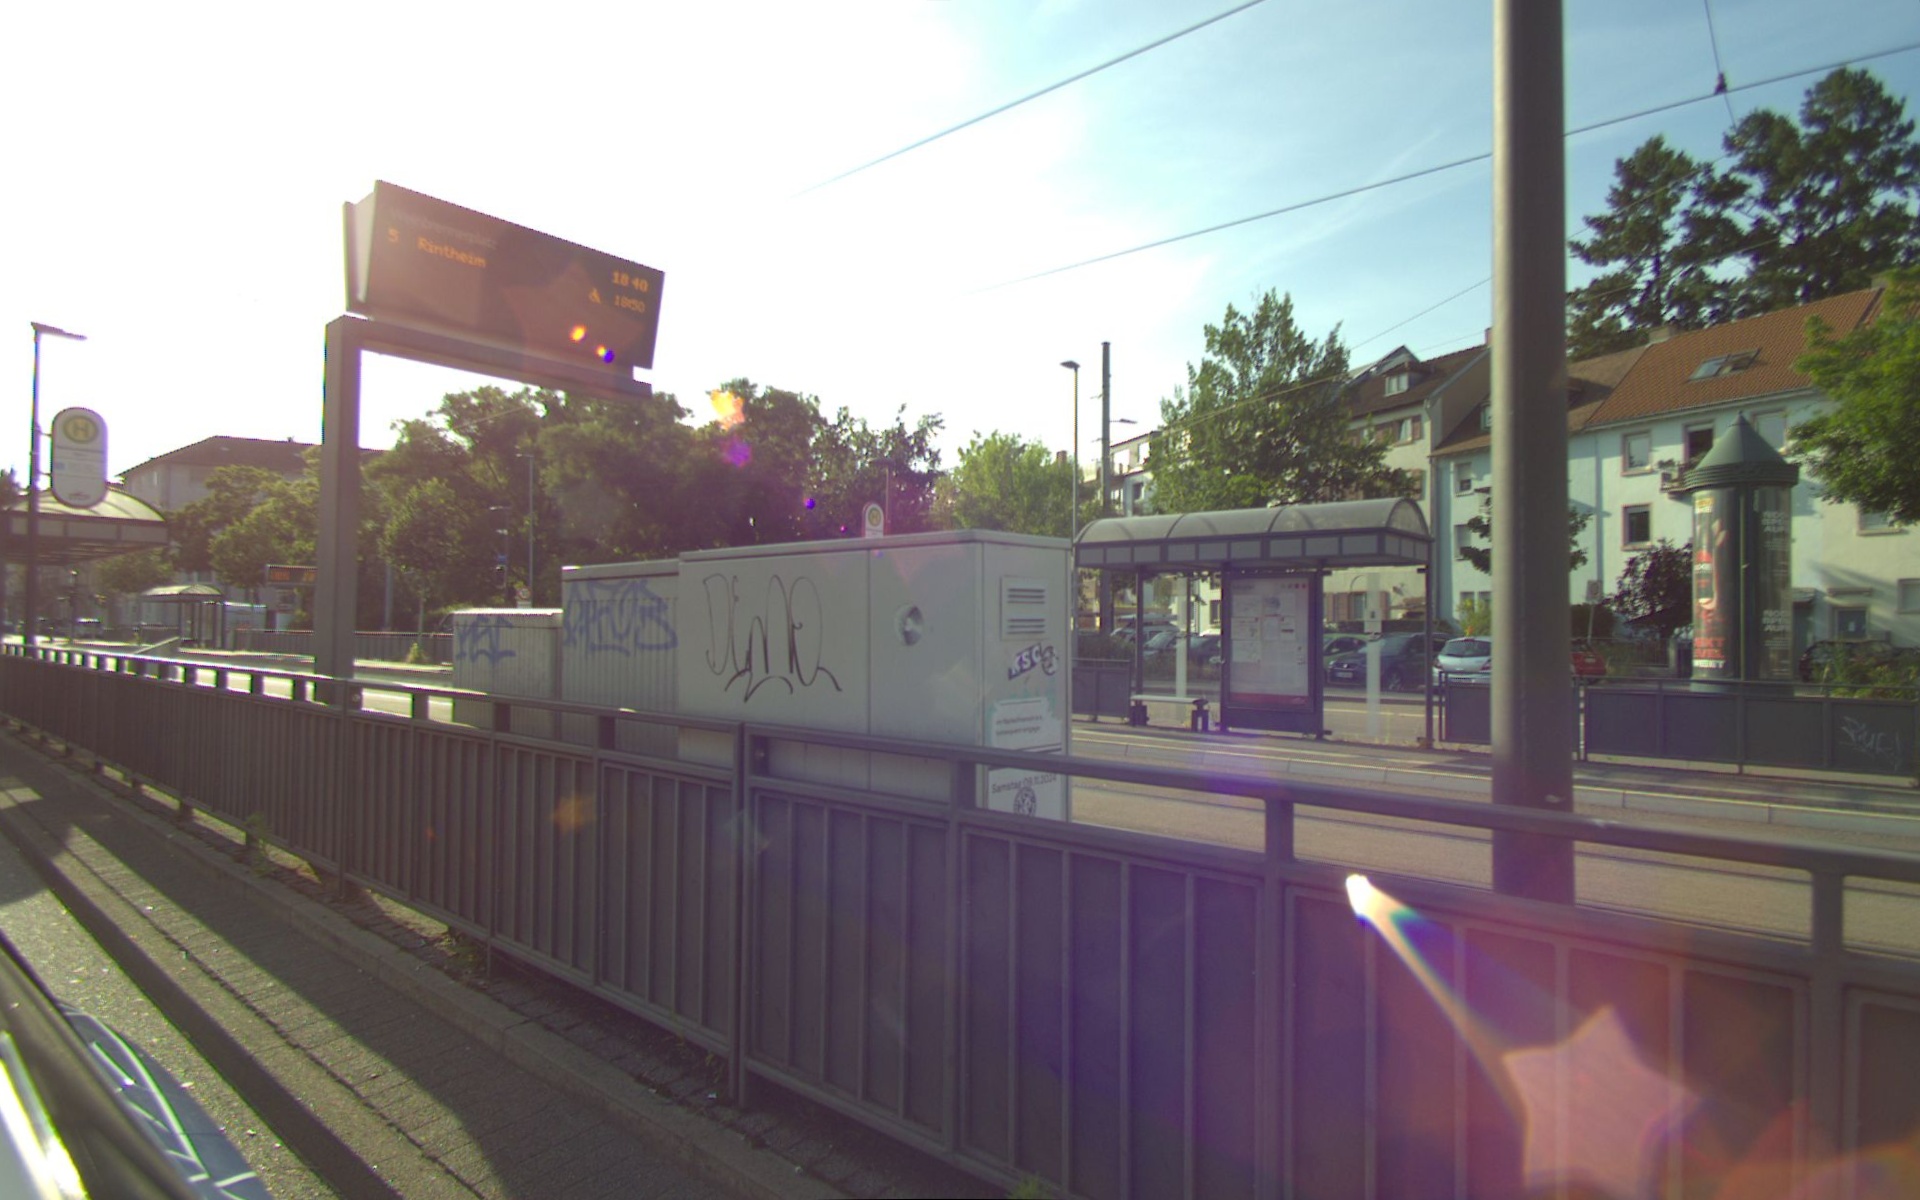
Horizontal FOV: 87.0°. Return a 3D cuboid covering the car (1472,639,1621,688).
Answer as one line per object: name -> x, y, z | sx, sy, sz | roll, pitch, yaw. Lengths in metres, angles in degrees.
car -> 18.417, 1.961, 31.955 | 1.523, 1.437, 3.877 | 1, -2, -26

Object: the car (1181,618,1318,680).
car -> 8.896, 1.494, 31.044 | 3.931, 1.767, 1.860 | 2, -2, -31

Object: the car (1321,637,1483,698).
car -> 11.376, 1.701, 26.047 | 3.931, 1.439, 1.778 | 2, -2, -28

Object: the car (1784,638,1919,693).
car -> 27.238, 1.947, 30.690 | 3.930, 1.570, 1.862 | 1, -2, -24

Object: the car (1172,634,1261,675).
car -> 11.769, 2.488, 46.606 | 1.786, 1.814, 4.013 | 2, -3, -26

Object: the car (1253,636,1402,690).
car -> 10.372, 1.742, 28.506 | 3.931, 1.439, 1.778 | 2, -2, -28

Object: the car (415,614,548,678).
car -> -16.472, 1.548, 34.710 | 5.384, 2.029, 2.123 | -1, -3, 41

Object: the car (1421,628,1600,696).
car -> 12.741, 1.400, 23.418 | 3.931, 1.439, 1.778 | 2, -2, -28

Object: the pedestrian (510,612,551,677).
pedestrian -> -11.117, 1.155, 26.198 | 0.689, 1.640, 0.727 | -1, -3, 41

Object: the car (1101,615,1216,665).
car -> 7.347, 1.491, 37.439 | 3.931, 1.767, 1.860 | 2, -2, -31

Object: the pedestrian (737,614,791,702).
pedestrian -> -3.729, 1.088, 19.279 | 0.727, 1.640, 0.699 | -1, -3, 41
